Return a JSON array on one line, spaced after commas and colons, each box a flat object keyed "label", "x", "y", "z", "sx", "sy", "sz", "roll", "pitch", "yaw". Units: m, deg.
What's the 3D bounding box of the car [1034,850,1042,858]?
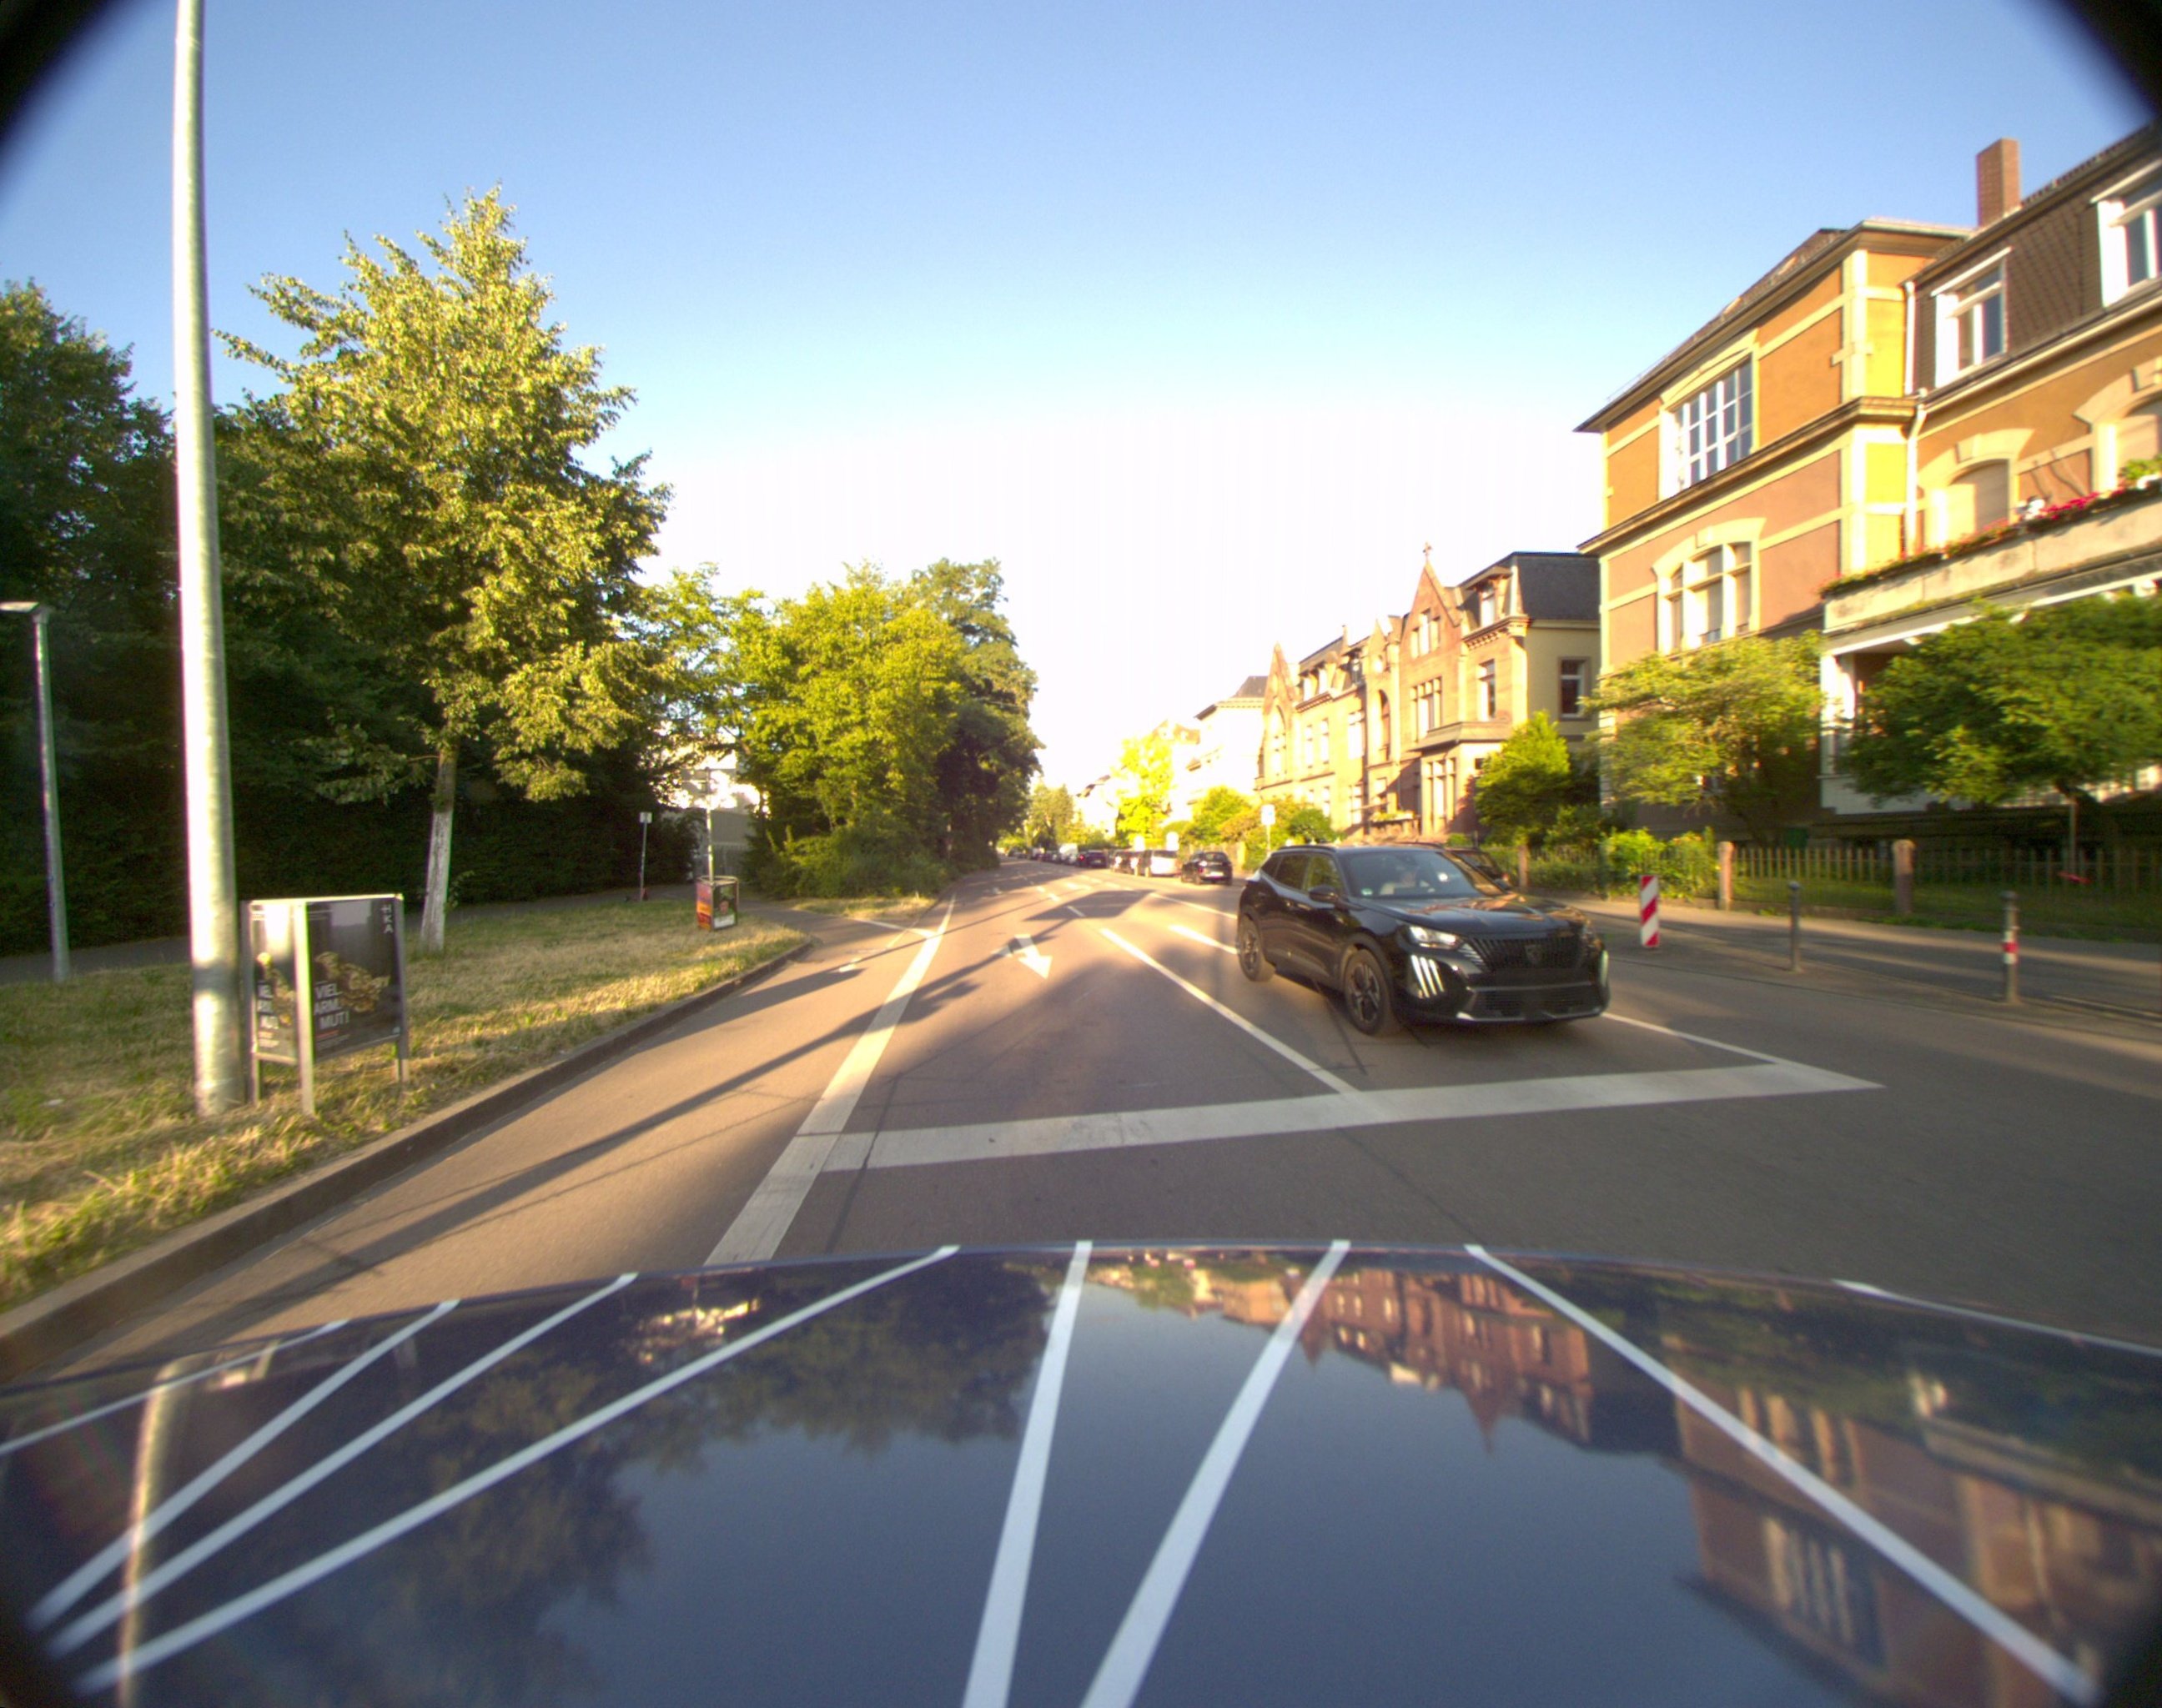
[{"label": "car", "x": -7.611, "y": -0.011, "z": 134.850, "sx": 1.221, "sy": 1.430, "sz": 2.513, "roll": 0, "pitch": 1, "yaw": -6}]

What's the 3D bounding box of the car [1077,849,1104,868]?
[{"label": "car", "x": 0.793, "y": 0.351, "z": 66.363, "sx": 1.881, "sy": 1.596, "sz": 3.720, "roll": 0, "pitch": 0, "yaw": -6}]

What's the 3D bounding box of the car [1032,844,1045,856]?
[{"label": "car", "x": -7.827, "y": -0.775, "z": 140.582, "sx": 2.204, "sy": 2.201, "sz": 4.524, "roll": 0, "pitch": 0, "yaw": -6}]

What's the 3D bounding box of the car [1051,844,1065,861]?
[{"label": "car", "x": -3.184, "y": -0.212, "z": 102.668, "sx": 1.572, "sy": 2.253, "sz": 3.797, "roll": 0, "pitch": 1, "yaw": -6}]

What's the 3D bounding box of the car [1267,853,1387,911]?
[{"label": "car", "x": 6.811, "y": 0.703, "z": 21.519, "sx": 1.609, "sy": 1.435, "sz": 4.430, "roll": 1, "pitch": 0, "yaw": -5}]

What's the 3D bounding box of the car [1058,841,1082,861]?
[{"label": "car", "x": -1.365, "y": -0.356, "z": 90.445, "sx": 2.232, "sy": 2.355, "sz": 5.874, "roll": 0, "pitch": 0, "yaw": -8}]

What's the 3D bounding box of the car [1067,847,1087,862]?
[{"label": "car", "x": -0.475, "y": 0.001, "z": 83.122, "sx": 1.717, "sy": 1.596, "sz": 3.850, "roll": 0, "pitch": 0, "yaw": -8}]

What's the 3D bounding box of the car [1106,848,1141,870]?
[{"label": "car", "x": 2.859, "y": 0.342, "z": 52.174, "sx": 1.717, "sy": 1.442, "sz": 3.720, "roll": 0, "pitch": 0, "yaw": -8}]

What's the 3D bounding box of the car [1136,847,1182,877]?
[{"label": "car", "x": 4.307, "y": 0.435, "z": 42.523, "sx": 1.717, "sy": 1.579, "sz": 3.750, "roll": 0, "pitch": 0, "yaw": -8}]

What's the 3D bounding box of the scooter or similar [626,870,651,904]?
[{"label": "scooter or similar", "x": -14.795, "y": 1.093, "z": 25.396, "sx": 0.194, "sy": 1.079, "sz": 0.837, "roll": -3, "pitch": 0, "yaw": 8}]

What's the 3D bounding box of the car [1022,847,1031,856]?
[{"label": "car", "x": -13.001, "y": -0.648, "z": 180.533, "sx": 1.999, "sy": 2.002, "sz": 3.997, "roll": -3, "pitch": 1, "yaw": -5}]

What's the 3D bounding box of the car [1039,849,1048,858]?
[{"label": "car", "x": -6.154, "y": -0.039, "z": 124.874, "sx": 1.221, "sy": 1.430, "sz": 2.513, "roll": 0, "pitch": 1, "yaw": -6}]

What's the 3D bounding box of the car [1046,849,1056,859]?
[{"label": "car", "x": -4.431, "y": -0.063, "z": 112.361, "sx": 1.328, "sy": 1.430, "sz": 2.696, "roll": 0, "pitch": 1, "yaw": -6}]

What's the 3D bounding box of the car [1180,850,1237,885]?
[{"label": "car", "x": 5.511, "y": 0.541, "z": 33.321, "sx": 1.632, "sy": 1.437, "sz": 3.564, "roll": 0, "pitch": 0, "yaw": -5}]

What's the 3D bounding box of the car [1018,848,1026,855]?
[{"label": "car", "x": -16.506, "y": -0.739, "z": 212.753, "sx": 2.000, "sy": 2.002, "sz": 3.997, "roll": -1, "pitch": 1, "yaw": -6}]

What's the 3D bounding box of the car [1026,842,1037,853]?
[{"label": "car", "x": -10.754, "y": -1.363, "z": 165.246, "sx": 2.000, "sy": 2.443, "sz": 5.575, "roll": -1, "pitch": 1, "yaw": -8}]

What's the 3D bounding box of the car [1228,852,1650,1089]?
[{"label": "car", "x": 2.846, "y": 0.768, "z": 7.125, "sx": 1.683, "sy": 1.527, "sz": 3.997, "roll": -1, "pitch": 1, "yaw": -7}]

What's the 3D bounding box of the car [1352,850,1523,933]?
[{"label": "car", "x": 7.446, "y": 0.711, "z": 16.296, "sx": 1.632, "sy": 1.526, "sz": 3.721, "roll": 1, "pitch": 0, "yaw": -5}]

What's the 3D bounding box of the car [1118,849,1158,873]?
[{"label": "car", "x": 3.534, "y": 0.429, "z": 47.579, "sx": 1.717, "sy": 1.442, "sz": 3.720, "roll": 0, "pitch": 0, "yaw": -8}]
